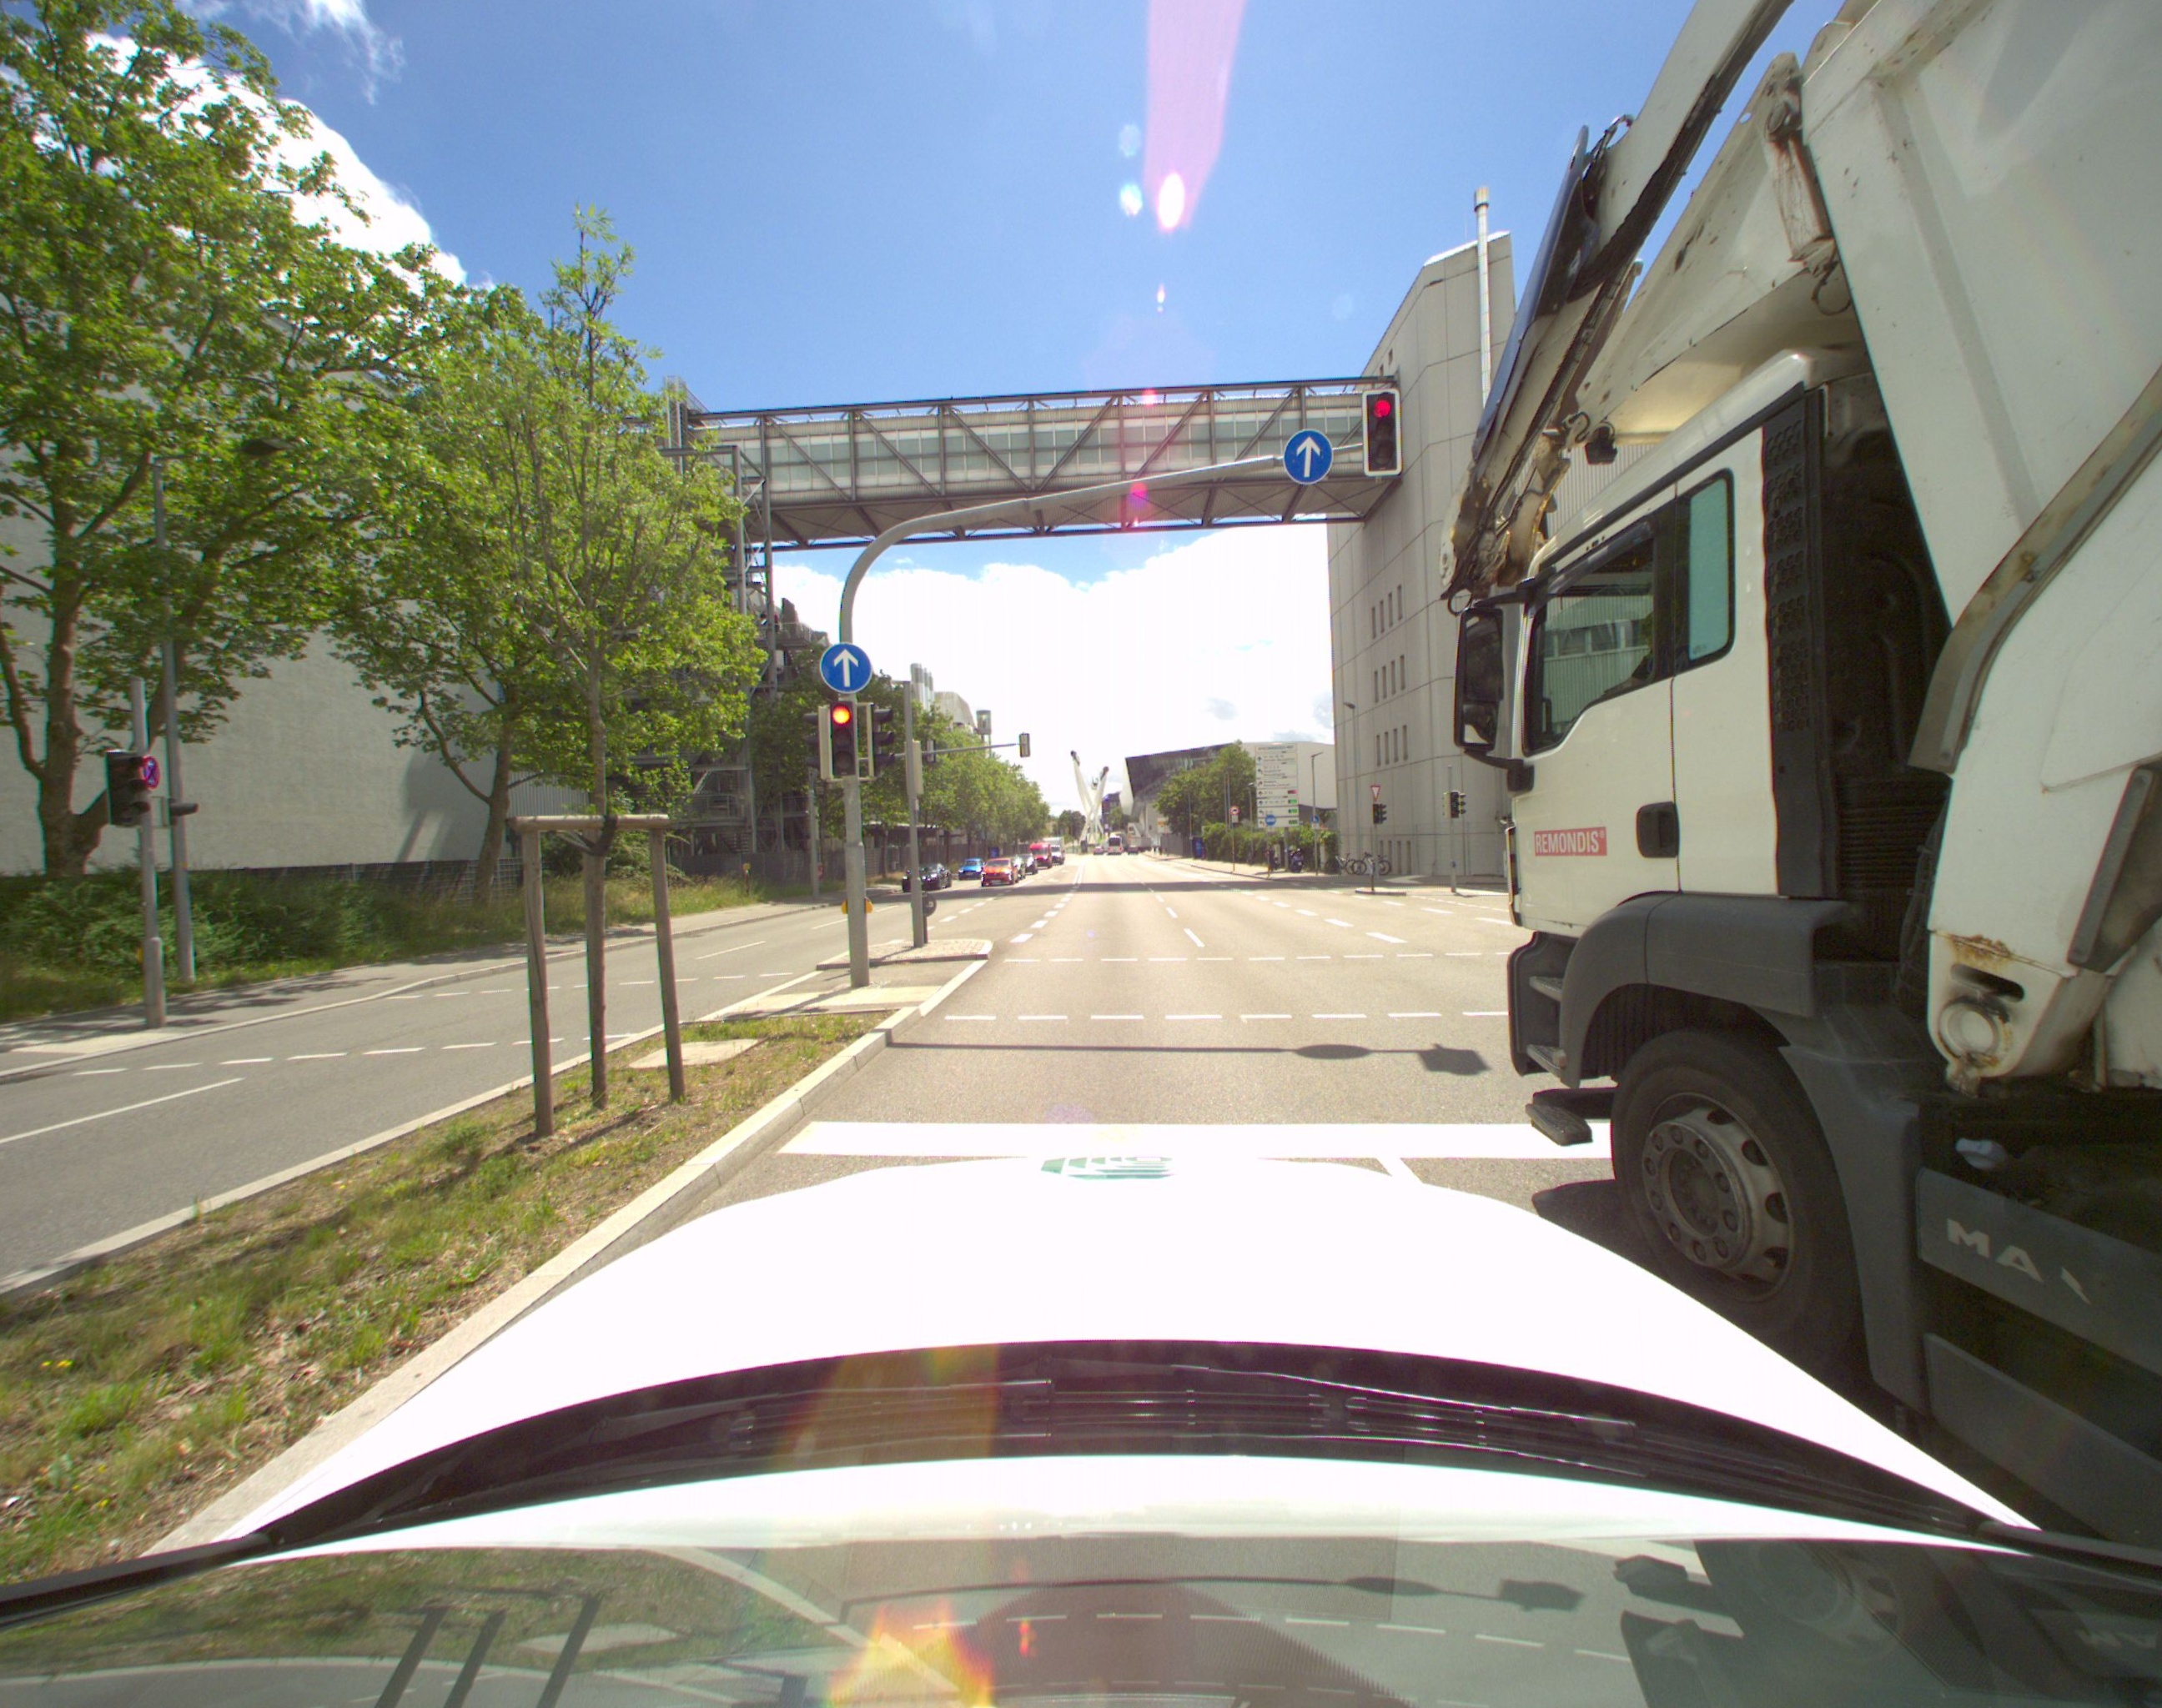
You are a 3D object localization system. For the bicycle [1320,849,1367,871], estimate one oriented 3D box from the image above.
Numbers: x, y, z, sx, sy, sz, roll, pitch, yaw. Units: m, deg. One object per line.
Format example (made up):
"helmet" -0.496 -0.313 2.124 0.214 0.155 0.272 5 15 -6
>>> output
"bicycle" 13.088 0.288 40.700 2.196 1.086 0.480 -1 -1 37

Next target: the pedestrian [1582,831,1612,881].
"pedestrian" 19.272 0.059 30.426 0.704 1.793 0.645 -4 0 14

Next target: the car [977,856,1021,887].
"car" -4.365 0.916 43.981 1.762 1.420 3.704 -4 0 3

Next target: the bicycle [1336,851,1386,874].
"bicycle" 13.521 0.411 39.356 2.196 1.086 0.480 -1 -1 37

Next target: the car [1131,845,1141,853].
"car" 9.844 -0.886 146.166 1.551 1.273 3.704 -4 0 3

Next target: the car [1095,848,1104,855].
"car" 3.416 -0.441 148.860 1.551 1.273 3.704 -4 0 3

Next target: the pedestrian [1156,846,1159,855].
"pedestrian" 12.499 -0.589 132.874 0.384 1.421 0.424 0 -1 2

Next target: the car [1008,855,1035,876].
"car" -4.479 0.846 61.909 1.551 1.448 3.775 -4 0 3

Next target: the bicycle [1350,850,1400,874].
"bicycle" 13.853 0.377 38.415 2.166 1.086 0.480 -1 -1 37

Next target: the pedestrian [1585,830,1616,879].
"pedestrian" 19.789 0.021 31.040 0.704 1.793 0.697 -4 0 16

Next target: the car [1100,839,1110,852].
"car" 5.002 -1.751 171.454 1.834 2.624 4.006 0 -1 6

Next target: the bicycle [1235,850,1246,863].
"bicycle" 12.731 0.188 65.126 0.417 1.022 1.911 0 -1 -2

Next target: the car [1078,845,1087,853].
"car" 0.347 -0.979 155.243 1.551 1.273 3.704 -4 0 3

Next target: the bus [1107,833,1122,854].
"bus" 6.226 -1.950 150.178 2.776 3.686 6.947 0 -1 3

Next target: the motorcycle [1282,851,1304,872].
"motorcycle" 11.655 0.407 44.891 0.418 1.166 1.951 0 -1 -9

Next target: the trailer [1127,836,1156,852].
"trailer" 12.871 -2.084 172.047 3.291 2.995 10.429 -1 -1 21

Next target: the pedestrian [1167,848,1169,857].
"pedestrian" 14.155 -0.253 132.799 0.384 1.421 0.424 0 -1 2

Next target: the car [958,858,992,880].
"car" -7.592 1.018 58.472 1.720 1.382 3.704 -4 0 3

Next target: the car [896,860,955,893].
"car" -8.137 1.139 43.163 1.910 1.488 4.775 -4 0 3

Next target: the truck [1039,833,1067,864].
"truck" -3.149 -0.543 92.026 2.581 3.324 7.083 0 -1 3

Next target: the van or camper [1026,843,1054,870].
"van or camper" -3.910 0.181 78.488 2.038 2.466 5.598 -1 0 3

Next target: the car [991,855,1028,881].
"car" -4.545 0.859 52.005 1.762 1.420 3.704 -4 0 3

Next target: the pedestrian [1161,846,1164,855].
"pedestrian" 12.953 -0.582 129.027 0.384 1.421 0.424 0 -1 2

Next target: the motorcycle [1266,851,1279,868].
"motorcycle" 12.179 0.348 51.868 0.455 1.022 1.914 0 -1 4

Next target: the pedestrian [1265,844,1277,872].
"pedestrian" 11.415 0.246 48.995 0.532 1.640 0.657 0 -1 -4
